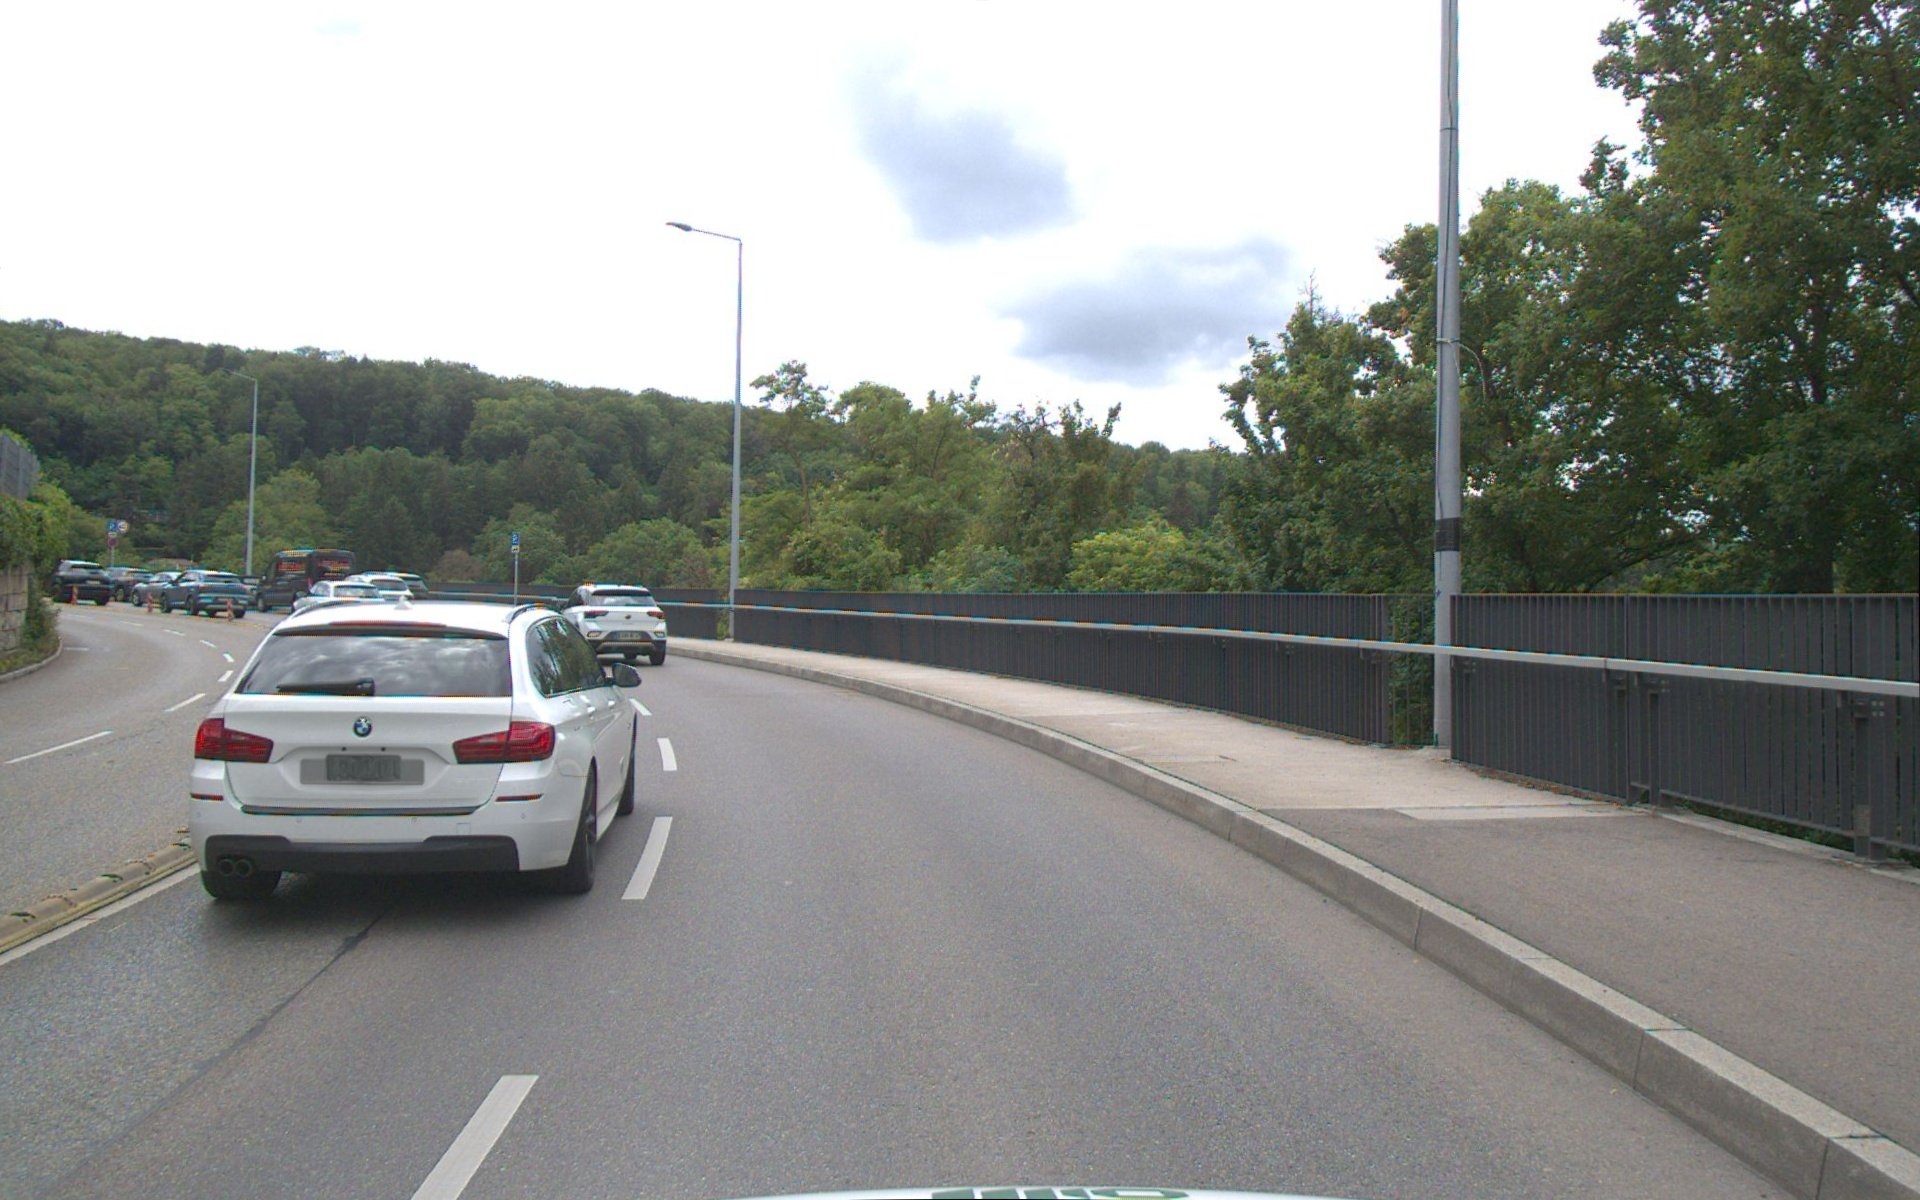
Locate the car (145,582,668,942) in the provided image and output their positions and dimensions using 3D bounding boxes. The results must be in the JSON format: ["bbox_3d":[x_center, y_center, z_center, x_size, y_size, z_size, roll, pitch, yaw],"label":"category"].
[{"bbox_3d":[-2.803,0.670,9.565,1.812,1.492,4.873,0,1,-6],"label":"car"}]

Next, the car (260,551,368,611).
[{"bbox_3d":[-25.608,-0.762,65.509,4.647,2.231,2.070,2,1,41],"label":"car"}]

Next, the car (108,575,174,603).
[{"bbox_3d":[-37.117,-0.513,74.923,3.437,1.180,1.521,2,1,43],"label":"car"}]

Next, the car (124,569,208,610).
[{"bbox_3d":[-32.174,-0.433,67.007,3.468,1.552,1.692,2,1,38],"label":"car"}]

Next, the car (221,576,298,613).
[{"bbox_3d":[-29.392,-0.236,69.394,3.520,1.440,1.662,2,1,43],"label":"car"}]

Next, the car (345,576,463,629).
[{"bbox_3d":[-18.002,0.059,53.744,1.951,1.614,4.004,2,1,10],"label":"car"}]

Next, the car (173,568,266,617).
[{"bbox_3d":[-25.717,-0.270,57.385,1.981,1.567,3.953,1,1,-39],"label":"car"}]

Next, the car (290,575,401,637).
[{"bbox_3d":[-17.308,0.142,46.502,1.892,1.601,3.949,1,1,-36],"label":"car"}]

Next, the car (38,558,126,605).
[{"bbox_3d":[-34.921,-0.745,65.714,3.928,1.719,1.811,2,1,41],"label":"car"}]

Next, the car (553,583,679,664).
[{"bbox_3d":[-7.100,0.448,33.871,1.842,1.563,3.776,0,0,-23],"label":"car"}]
